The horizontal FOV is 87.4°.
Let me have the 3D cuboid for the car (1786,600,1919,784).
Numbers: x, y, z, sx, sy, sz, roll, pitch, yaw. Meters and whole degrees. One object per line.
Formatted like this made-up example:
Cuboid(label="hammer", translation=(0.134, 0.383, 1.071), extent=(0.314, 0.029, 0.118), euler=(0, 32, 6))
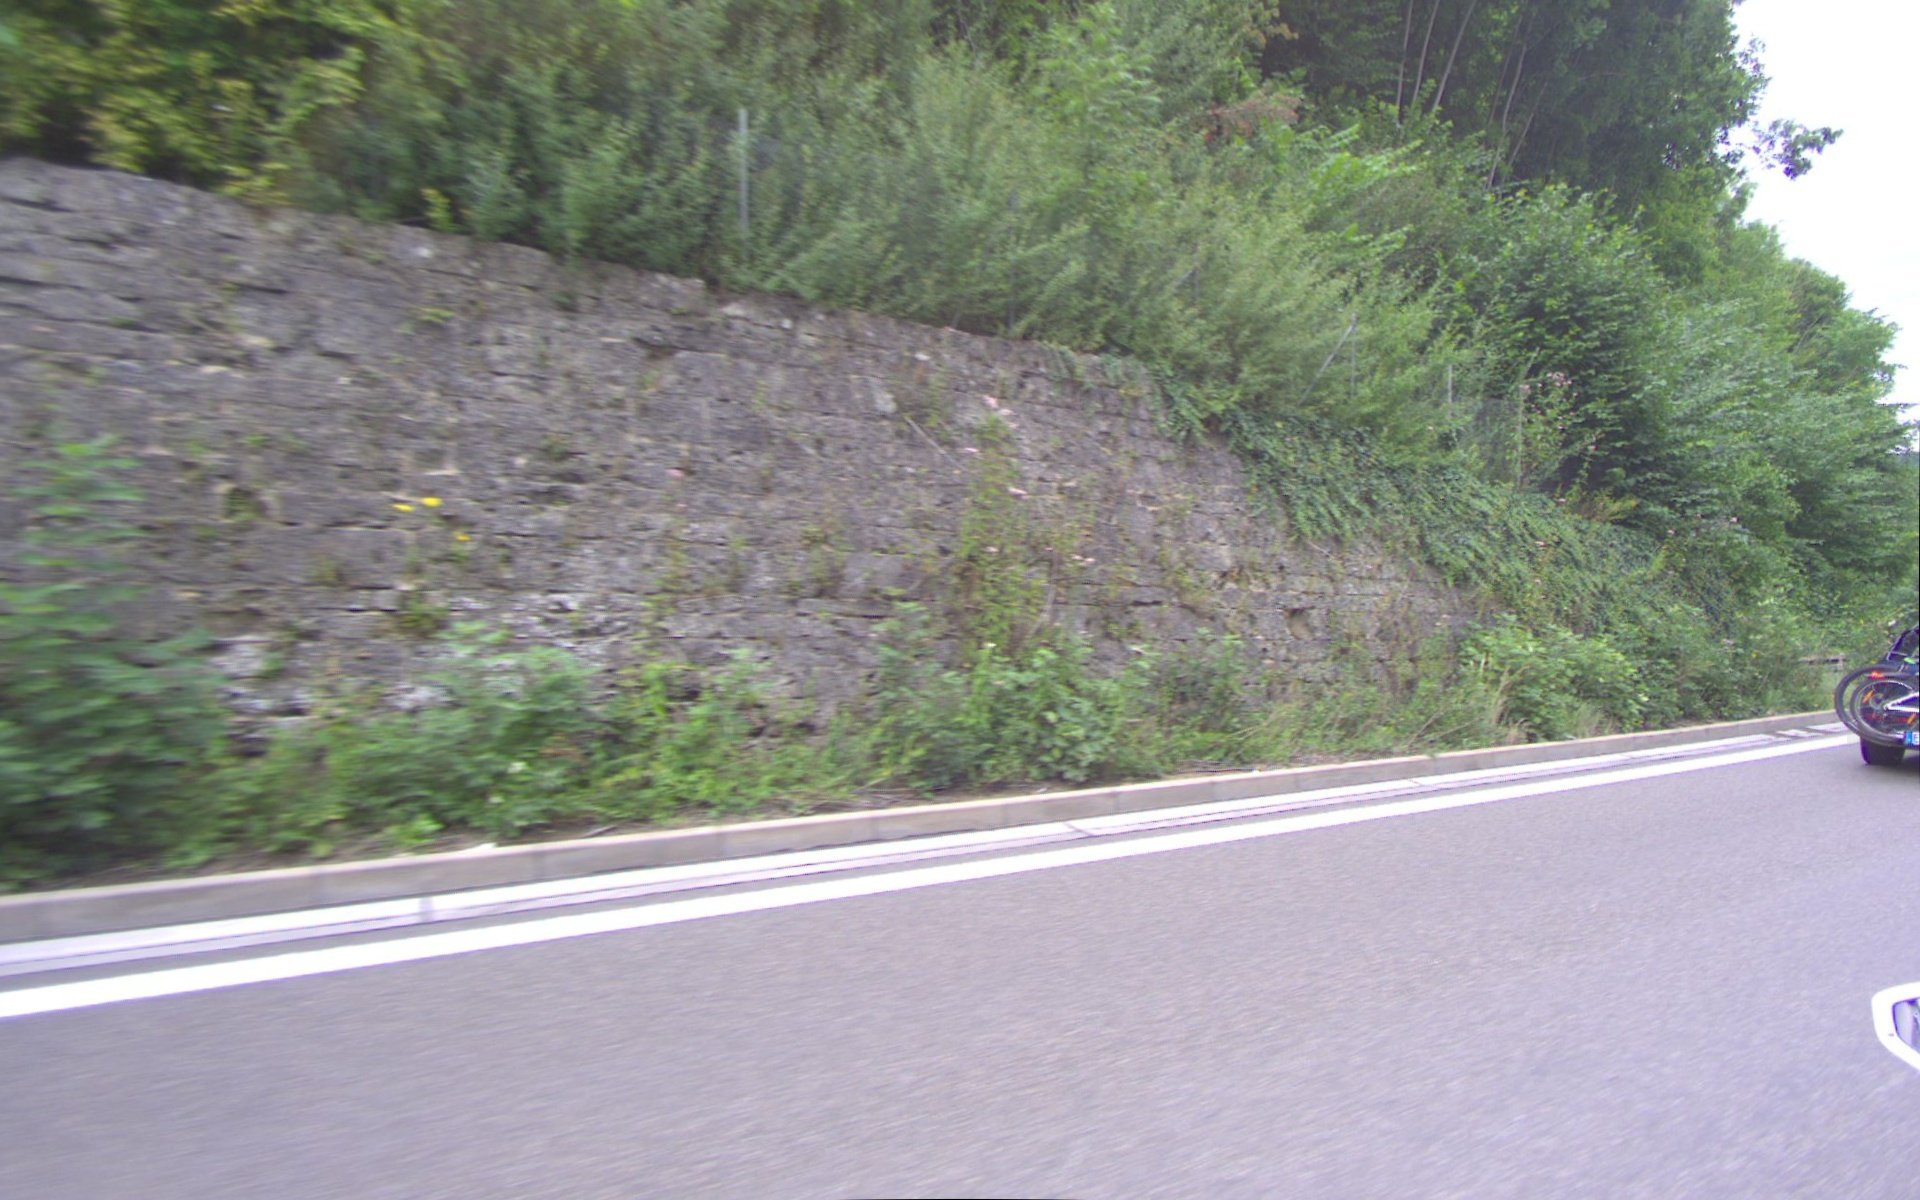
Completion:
Cuboid(label="car", translation=(11.068, 0.964, 10.665), extent=(5.527, 1.614, 1.959), euler=(2, 2, -34))
